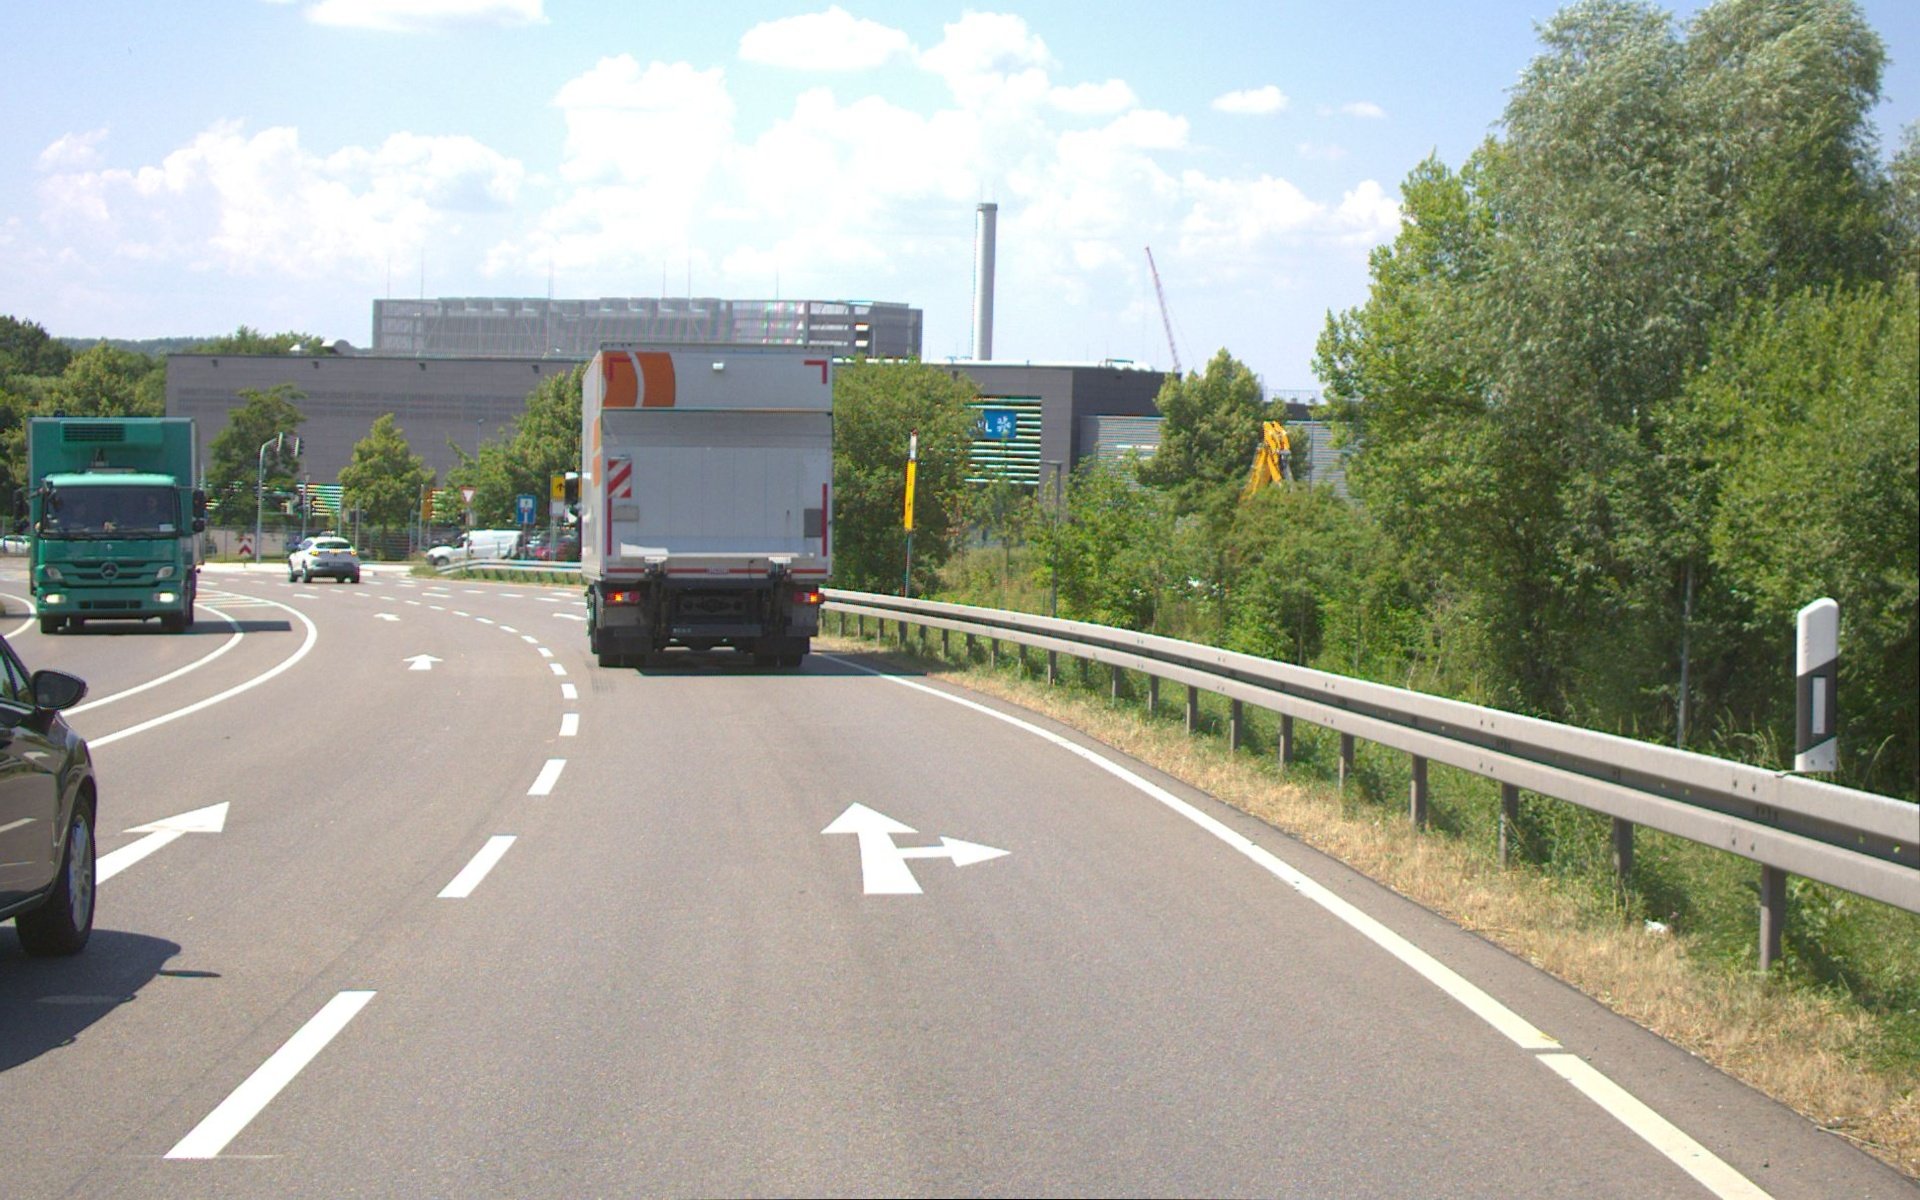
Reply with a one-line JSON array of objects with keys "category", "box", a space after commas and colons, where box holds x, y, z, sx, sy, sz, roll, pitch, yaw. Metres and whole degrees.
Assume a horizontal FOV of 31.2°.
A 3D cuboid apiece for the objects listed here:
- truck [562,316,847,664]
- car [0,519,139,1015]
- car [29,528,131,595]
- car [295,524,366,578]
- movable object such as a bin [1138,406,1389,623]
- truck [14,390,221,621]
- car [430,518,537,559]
[{"category": "truck", "box": [-3.264, -1.323, 41.491, 2.803, 3.698, 9.111, 1, 2, -8]}, {"category": "car", "box": [-3.809, 0.521, 10.847, 1.653, 1.488, 4.209, 1, 2, -4]}, {"category": "car", "box": [-19.459, -0.883, 76.159, 1.876, 1.437, 4.331, 0, 1, -10]}, {"category": "car", "box": [-20.761, -1.627, 113.311, 1.943, 1.658, 4.001, 3, 1, -14]}, {"category": "movable object such as a bin", "box": [7.910, -2.389, 91.314, 3.423, 5.242, 9.233, 2, 3, -15]}, {"category": "truck", "box": [-14.046, -1.567, 57.934, 2.868, 3.562, 9.434, 0, 1, -11]}, {"category": "car", "box": [-22.782, -2.951, 164.465, 4.745, 1.925, 2.153, 0, 1, 3]}]
